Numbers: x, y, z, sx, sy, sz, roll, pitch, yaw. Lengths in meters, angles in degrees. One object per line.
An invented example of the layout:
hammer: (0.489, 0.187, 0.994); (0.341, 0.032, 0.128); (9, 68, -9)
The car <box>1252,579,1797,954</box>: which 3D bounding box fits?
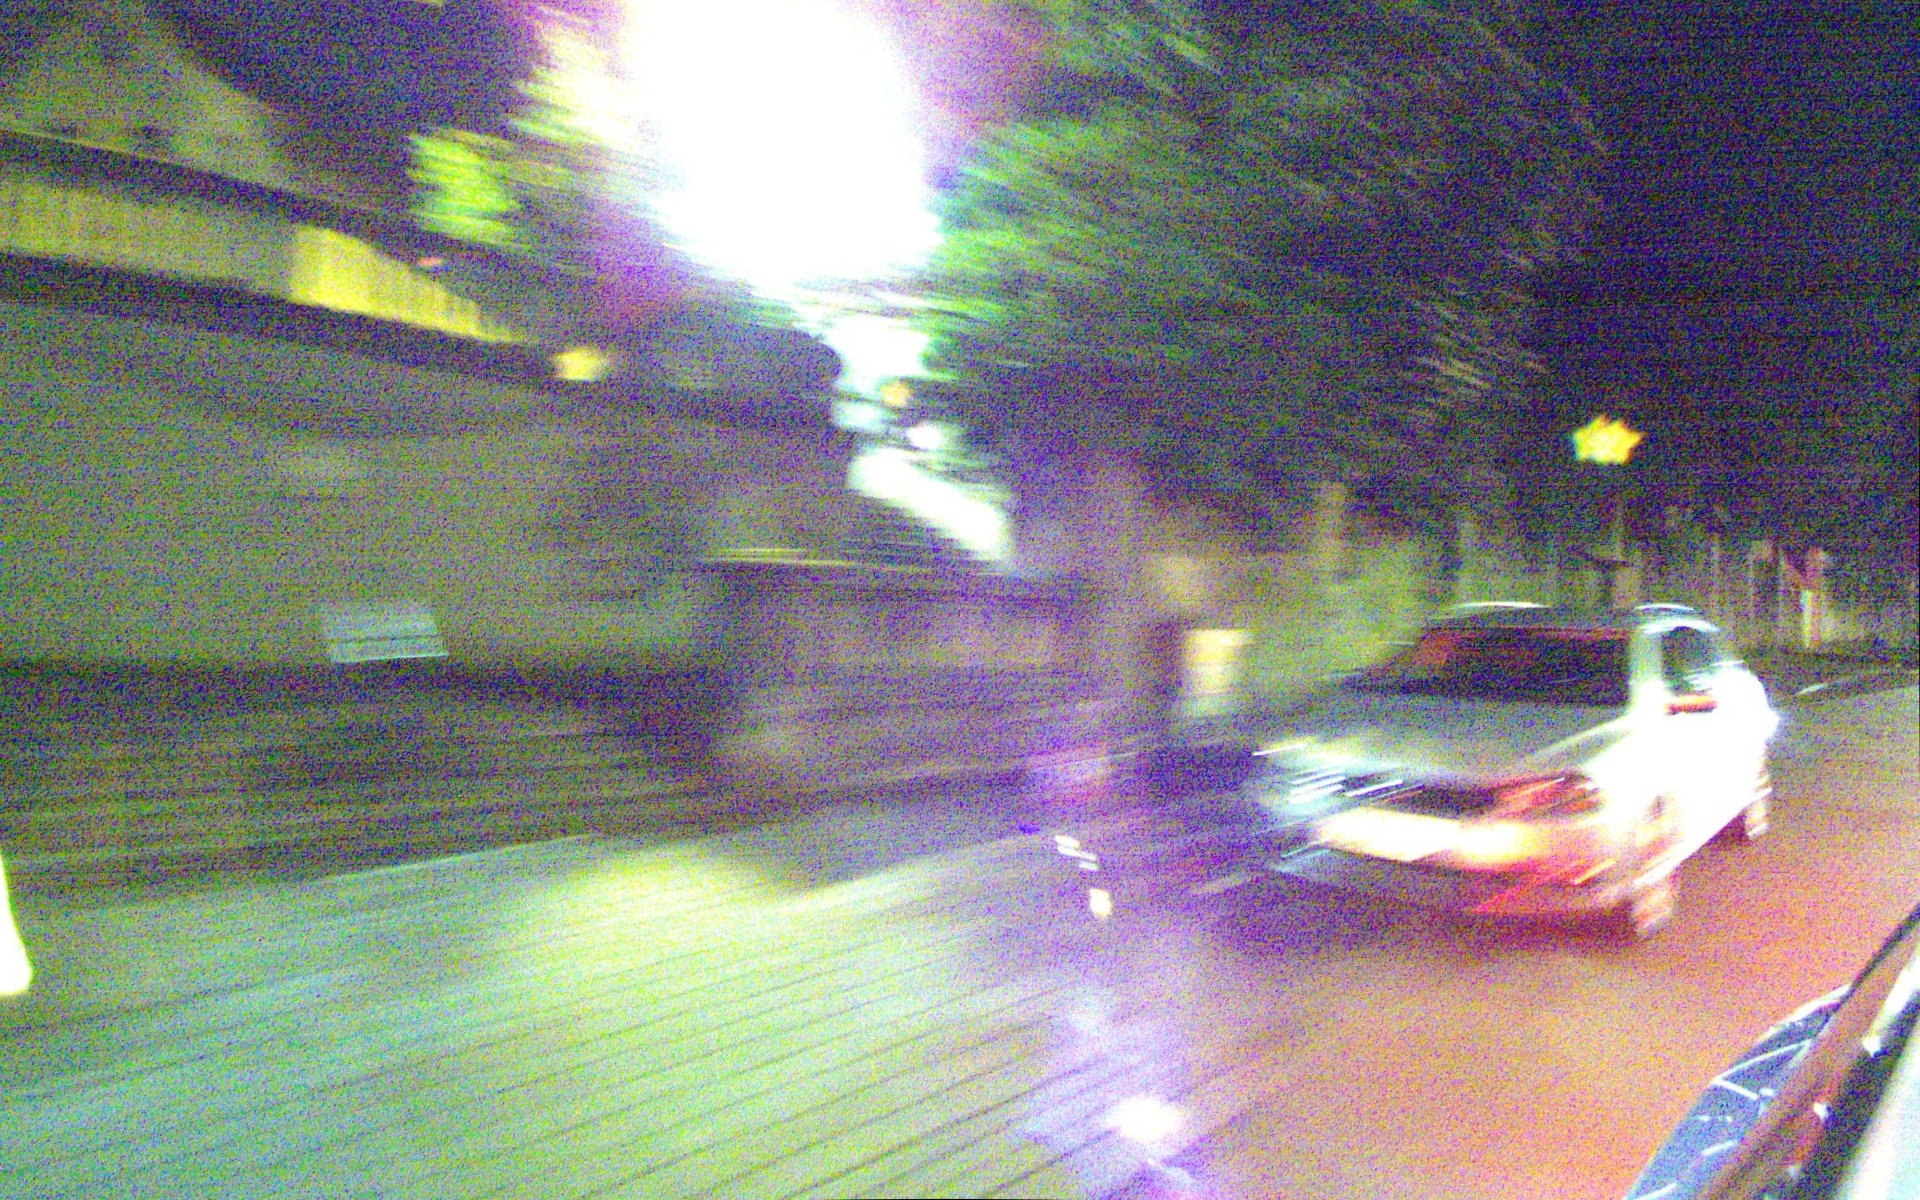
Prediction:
car: (3.660, 0.679, 6.164); (4.206, 1.494, 1.764); (0, -1, -44)
